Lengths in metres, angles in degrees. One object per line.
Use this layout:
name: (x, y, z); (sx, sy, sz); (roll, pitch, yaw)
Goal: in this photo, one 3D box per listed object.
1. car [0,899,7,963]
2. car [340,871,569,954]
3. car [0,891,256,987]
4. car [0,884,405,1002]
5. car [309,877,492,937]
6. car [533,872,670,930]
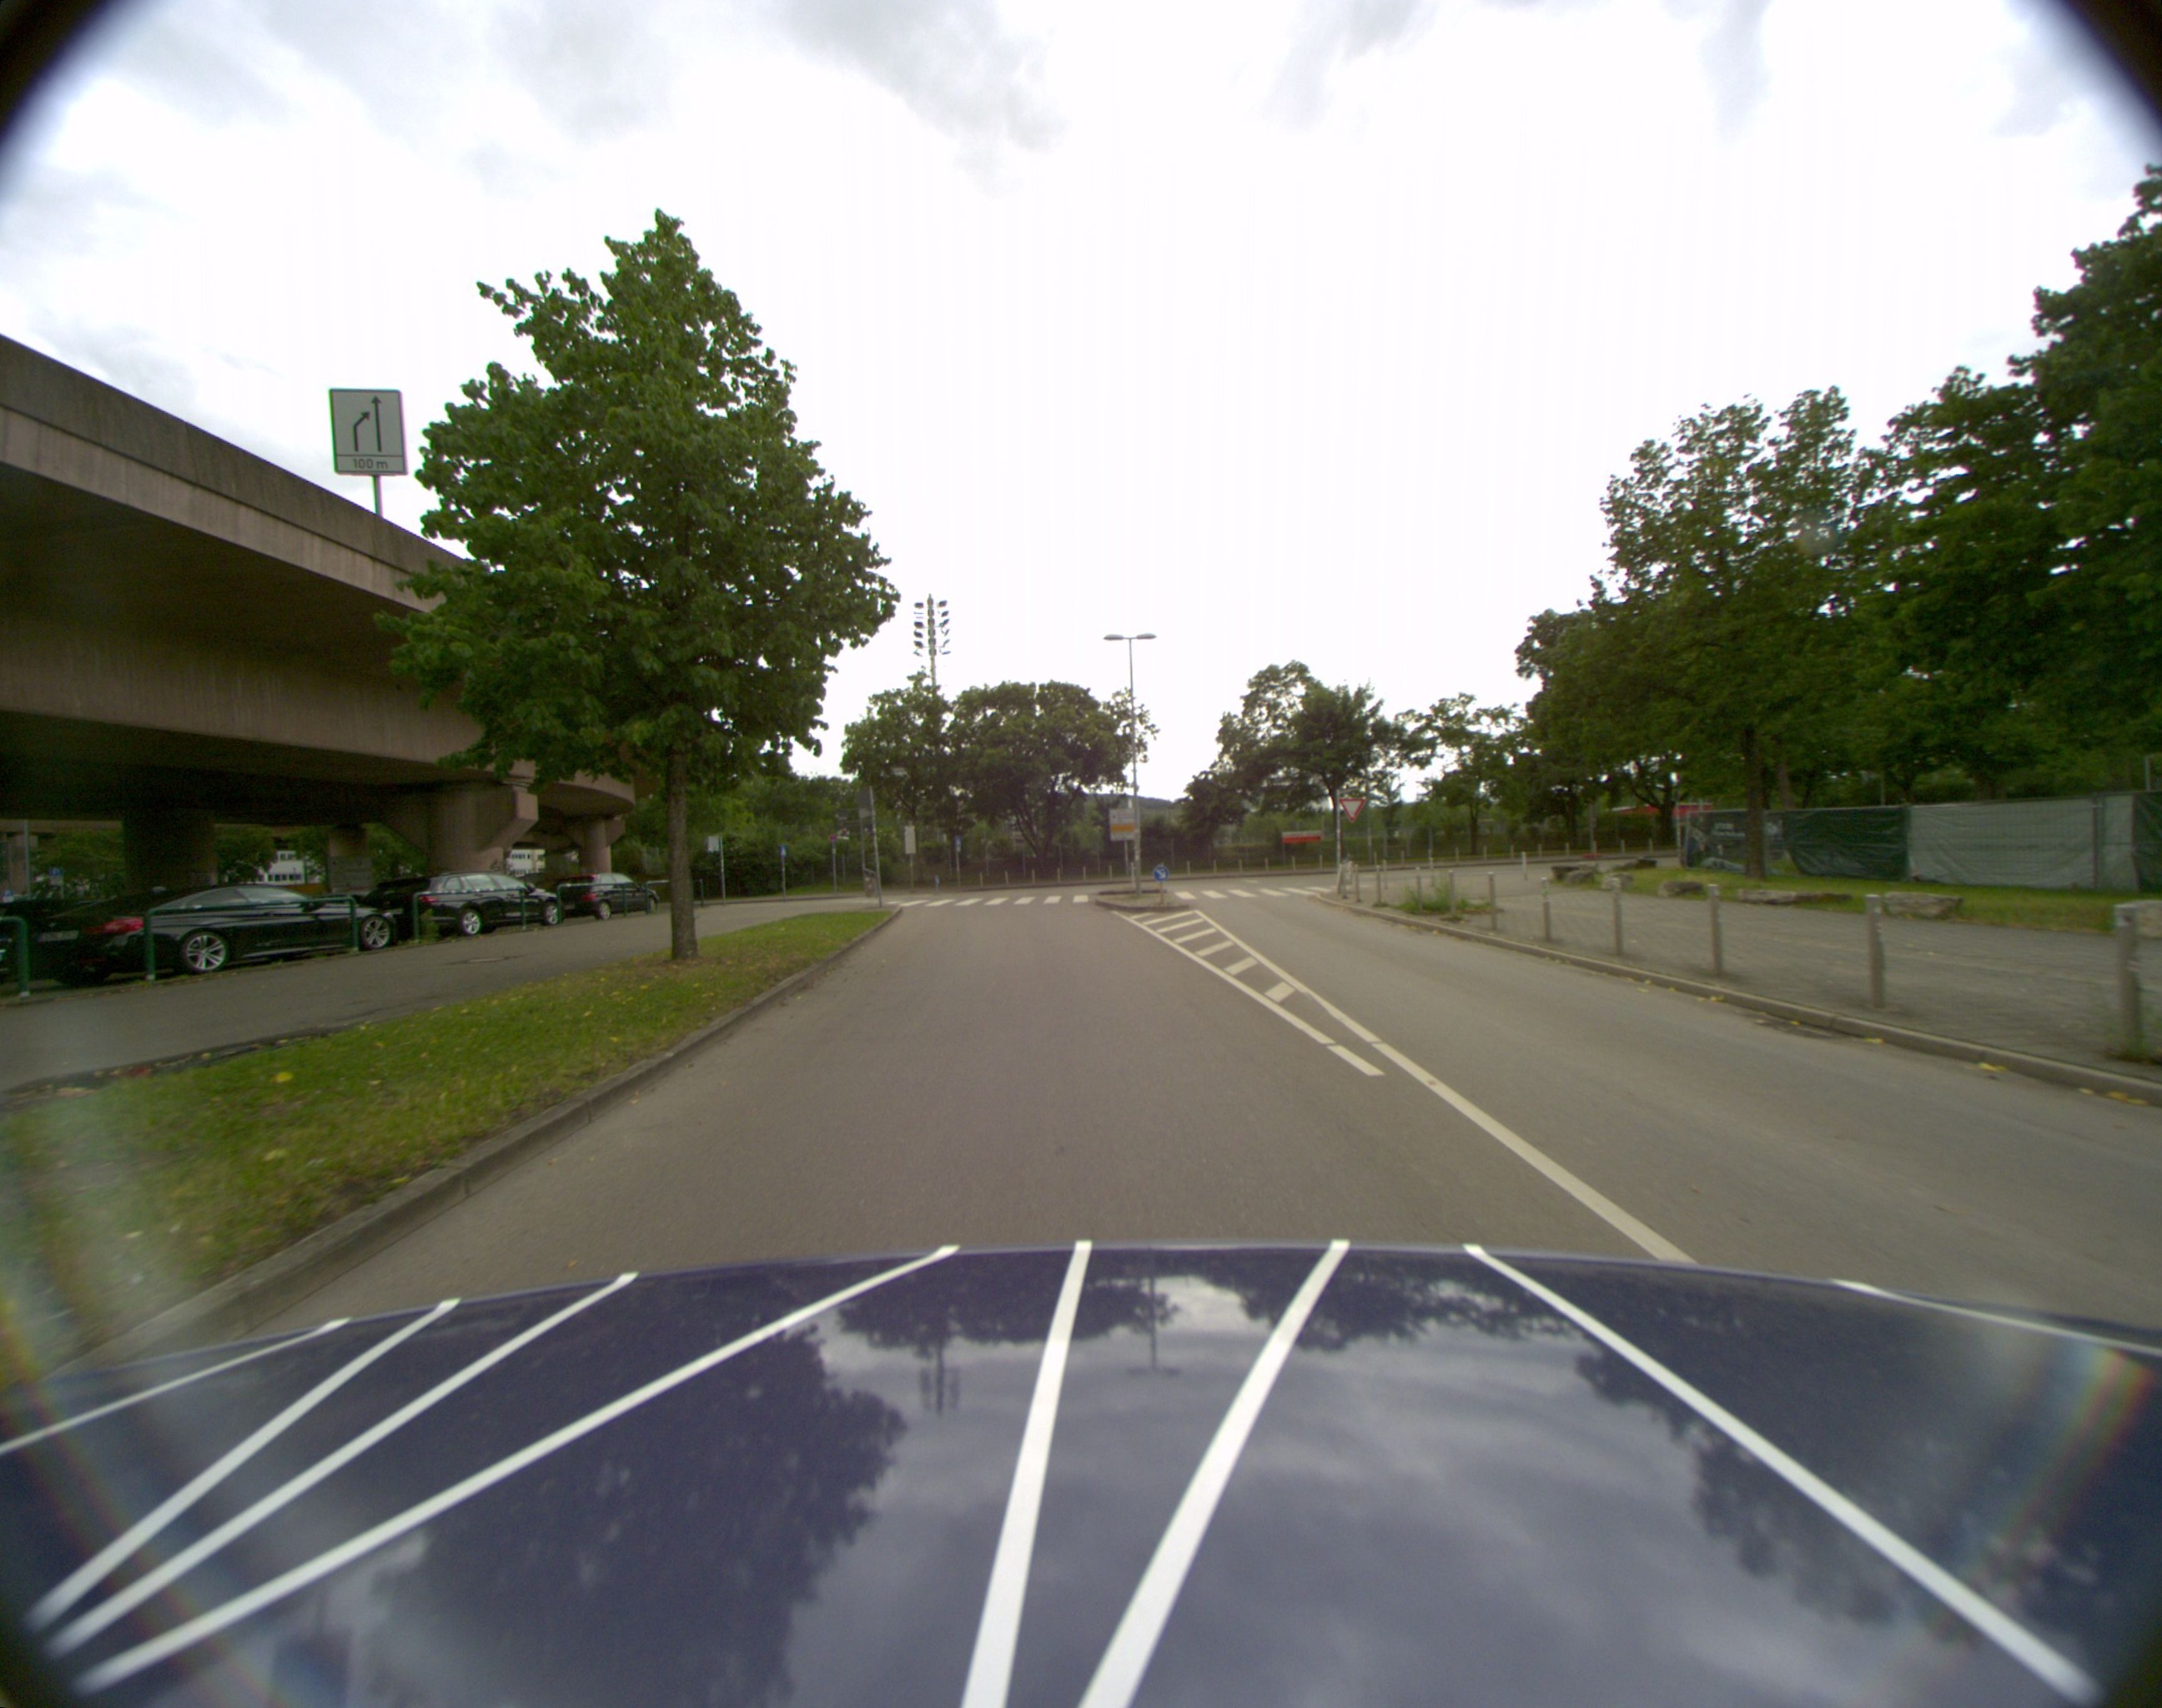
car: (-30.370, 2.132, 19.182); (3.859, 1.688, 1.838); (-3, 0, 0)
car: (-13.761, 1.206, 17.069); (1.509, 1.412, 4.248); (-5, 0, 0)
car: (-19.307, 1.653, 14.976); (3.861, 1.546, 1.757); (-3, 0, -6)
car: (-13.688, 1.262, 12.184); (1.771, 1.314, 4.374); (-4, 0, -1)
car: (-20.877, 1.601, 23.449); (4.009, 1.543, 1.639); (-3, 0, -3)
car: (-13.939, 1.314, 22.350); (1.509, 1.322, 3.699); (-6, 0, 1)
